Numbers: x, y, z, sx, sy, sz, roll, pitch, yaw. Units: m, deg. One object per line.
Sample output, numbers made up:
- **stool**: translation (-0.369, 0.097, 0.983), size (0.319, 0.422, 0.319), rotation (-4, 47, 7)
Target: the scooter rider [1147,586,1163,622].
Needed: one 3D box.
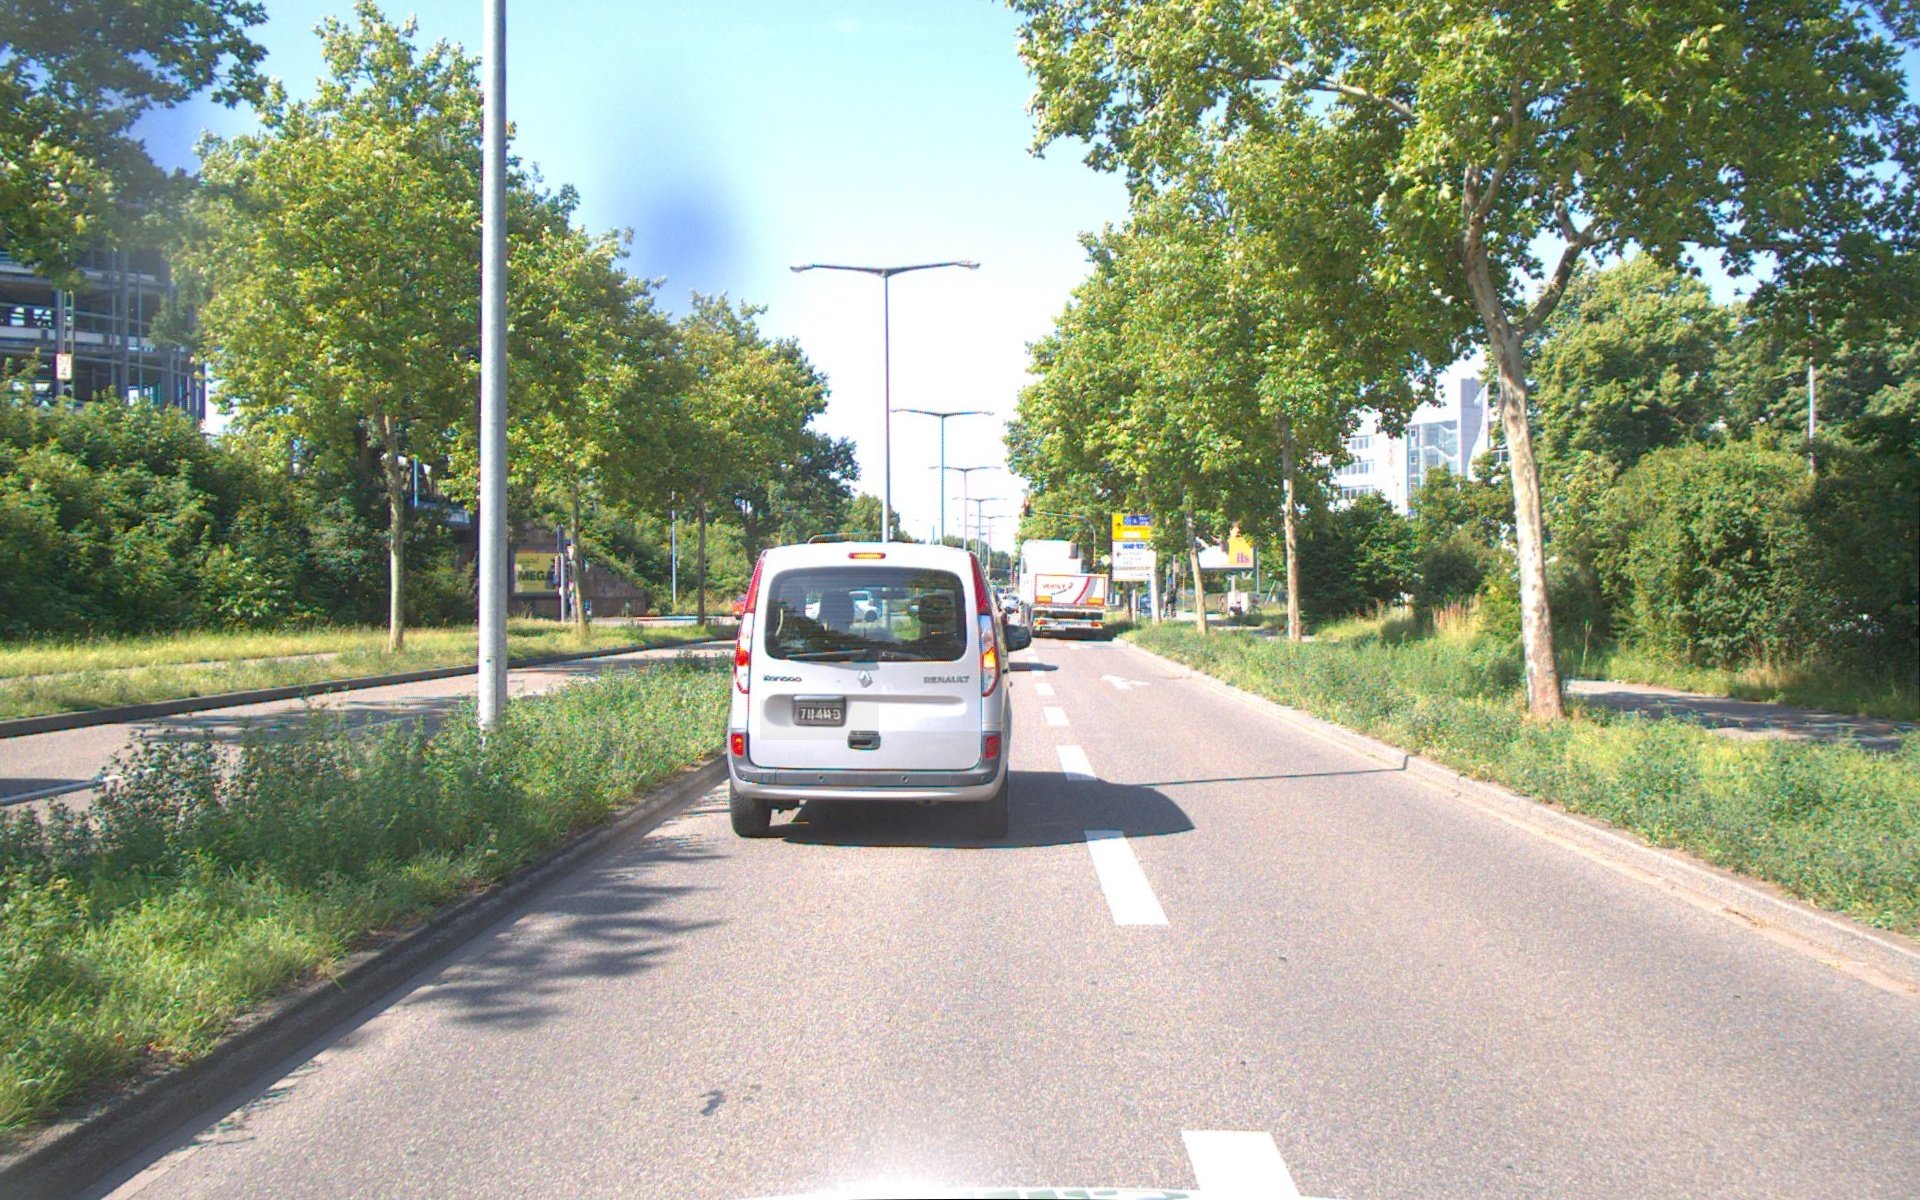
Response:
- **scooter rider**: translation (7.350, 0.144, 62.370), size (0.487, 1.361, 0.563), rotation (1, 0, -2)

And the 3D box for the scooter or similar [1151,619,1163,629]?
- **scooter or similar**: translation (7.429, 0.904, 62.370), size (0.371, 0.364, 0.556), rotation (1, 0, -1)

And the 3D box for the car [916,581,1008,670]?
- **car**: translation (-0.002, 0.507, 34.289), size (1.773, 1.713, 3.999), rotation (1, 0, -1)

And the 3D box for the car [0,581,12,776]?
- **car**: translation (-8.153, 0.580, 10.851), size (1.538, 1.495, 3.927), rotation (1, 0, 1)

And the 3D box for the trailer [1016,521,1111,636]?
- **trailer**: translation (3.678, -0.699, 61.443), size (2.954, 3.806, 12.241), rotation (1, 0, 1)

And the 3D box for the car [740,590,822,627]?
- **car**: translation (-9.614, 0.482, 88.698), size (3.942, 1.892, 1.982), rotation (1, 0, -28)

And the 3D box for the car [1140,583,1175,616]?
- **car**: translation (11.481, -0.005, 96.258), size (1.778, 1.826, 3.444), rotation (1, 0, 2)

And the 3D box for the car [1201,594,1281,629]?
- **car**: translation (14.354, 0.583, 84.608), size (3.902, 1.691, 1.724), rotation (1, 0, 6)

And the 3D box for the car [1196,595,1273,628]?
- **car**: translation (14.630, 0.602, 88.260), size (3.902, 1.691, 1.724), rotation (1, 0, 6)

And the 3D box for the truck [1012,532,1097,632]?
- **truck**: translation (3.786, -0.698, 68.046), size (3.009, 3.823, 7.476), rotation (1, 0, 0)

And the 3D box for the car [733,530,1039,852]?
- **car**: translation (-0.404, 0.526, 11.435), size (1.713, 1.803, 3.949), rotation (1, 0, 0)

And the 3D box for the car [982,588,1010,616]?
- **car**: translation (2.664, 0.137, 124.153), size (1.680, 2.049, 3.996), rotation (1, 0, -4)
